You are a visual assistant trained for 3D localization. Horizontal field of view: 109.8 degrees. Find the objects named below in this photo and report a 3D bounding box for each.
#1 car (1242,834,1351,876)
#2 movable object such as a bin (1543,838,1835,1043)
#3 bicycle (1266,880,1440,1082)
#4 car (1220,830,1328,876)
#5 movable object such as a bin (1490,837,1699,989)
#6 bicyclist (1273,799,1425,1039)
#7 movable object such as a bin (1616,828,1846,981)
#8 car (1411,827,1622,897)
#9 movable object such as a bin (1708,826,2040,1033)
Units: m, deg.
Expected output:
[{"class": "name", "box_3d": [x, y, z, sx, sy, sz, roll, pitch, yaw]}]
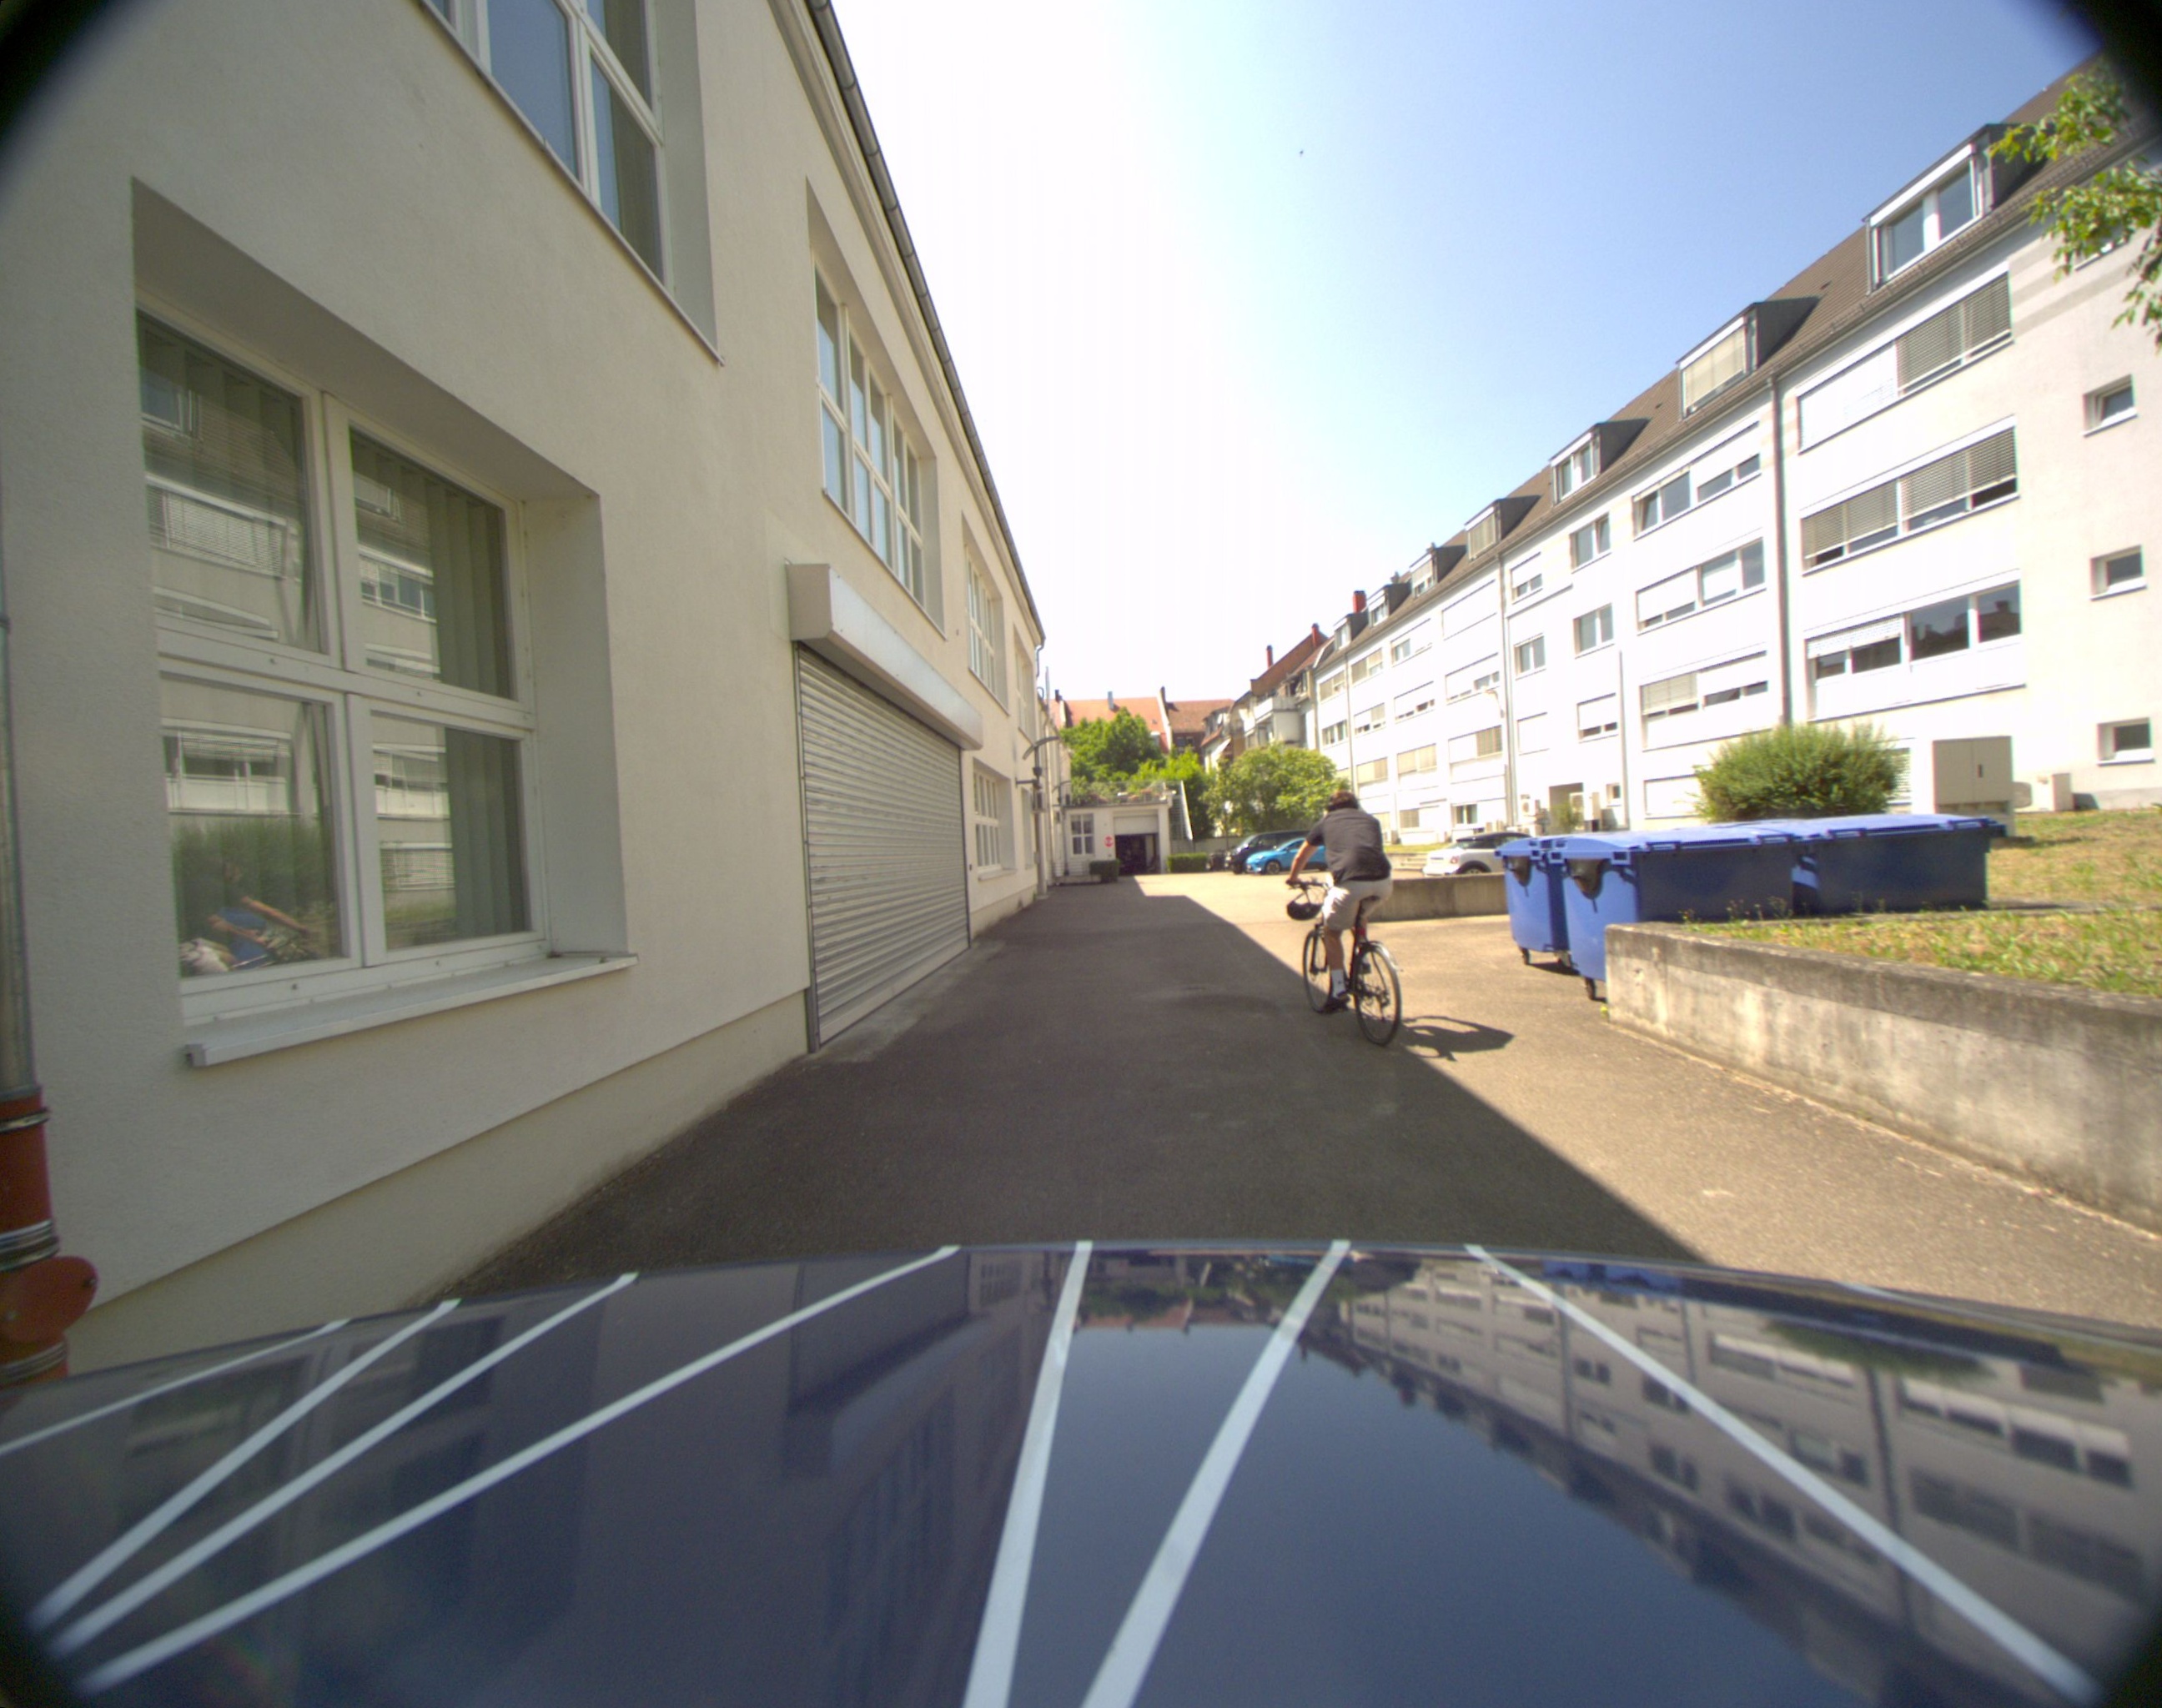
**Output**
[{"class": "car", "box_3d": [9.342, 0.022, 33.158, 4.167, 1.544, 1.859, -3, 1, -2]}, {"class": "movable object such as a bin", "box_3d": [4.437, 0.586, 5.682, 1.257, 1.320, 1.104, -3, 1, 3]}, {"class": "bicycle", "box_3d": [1.975, 0.847, 5.816, 0.645, 1.167, 1.904, -3, 1, 2]}, {"class": "car", "box_3d": [9.007, -0.077, 35.742, 4.448, 1.821, 1.999, -4, 1, 0]}, {"class": "movable object such as a bin", "box_3d": [4.953, 0.534, 7.440, 1.257, 1.320, 1.104, -3, 1, 3]}, {"class": "bicyclist", "box_3d": [1.953, 0.444, 5.675, 0.724, 1.600, 0.978, -3, 1, 2]}, {"class": "movable object such as a bin", "box_3d": [6.264, 0.454, 7.422, 1.257, 1.320, 1.104, -3, 1, 3]}, {"class": "car", "box_3d": [10.210, 0.171, 17.991, 3.997, 1.428, 1.711, -2, 1, -1]}, {"class": "movable object such as a bin", "box_3d": [5.757, 0.507, 5.633, 1.257, 1.320, 1.104, -3, 1, 3]}]
